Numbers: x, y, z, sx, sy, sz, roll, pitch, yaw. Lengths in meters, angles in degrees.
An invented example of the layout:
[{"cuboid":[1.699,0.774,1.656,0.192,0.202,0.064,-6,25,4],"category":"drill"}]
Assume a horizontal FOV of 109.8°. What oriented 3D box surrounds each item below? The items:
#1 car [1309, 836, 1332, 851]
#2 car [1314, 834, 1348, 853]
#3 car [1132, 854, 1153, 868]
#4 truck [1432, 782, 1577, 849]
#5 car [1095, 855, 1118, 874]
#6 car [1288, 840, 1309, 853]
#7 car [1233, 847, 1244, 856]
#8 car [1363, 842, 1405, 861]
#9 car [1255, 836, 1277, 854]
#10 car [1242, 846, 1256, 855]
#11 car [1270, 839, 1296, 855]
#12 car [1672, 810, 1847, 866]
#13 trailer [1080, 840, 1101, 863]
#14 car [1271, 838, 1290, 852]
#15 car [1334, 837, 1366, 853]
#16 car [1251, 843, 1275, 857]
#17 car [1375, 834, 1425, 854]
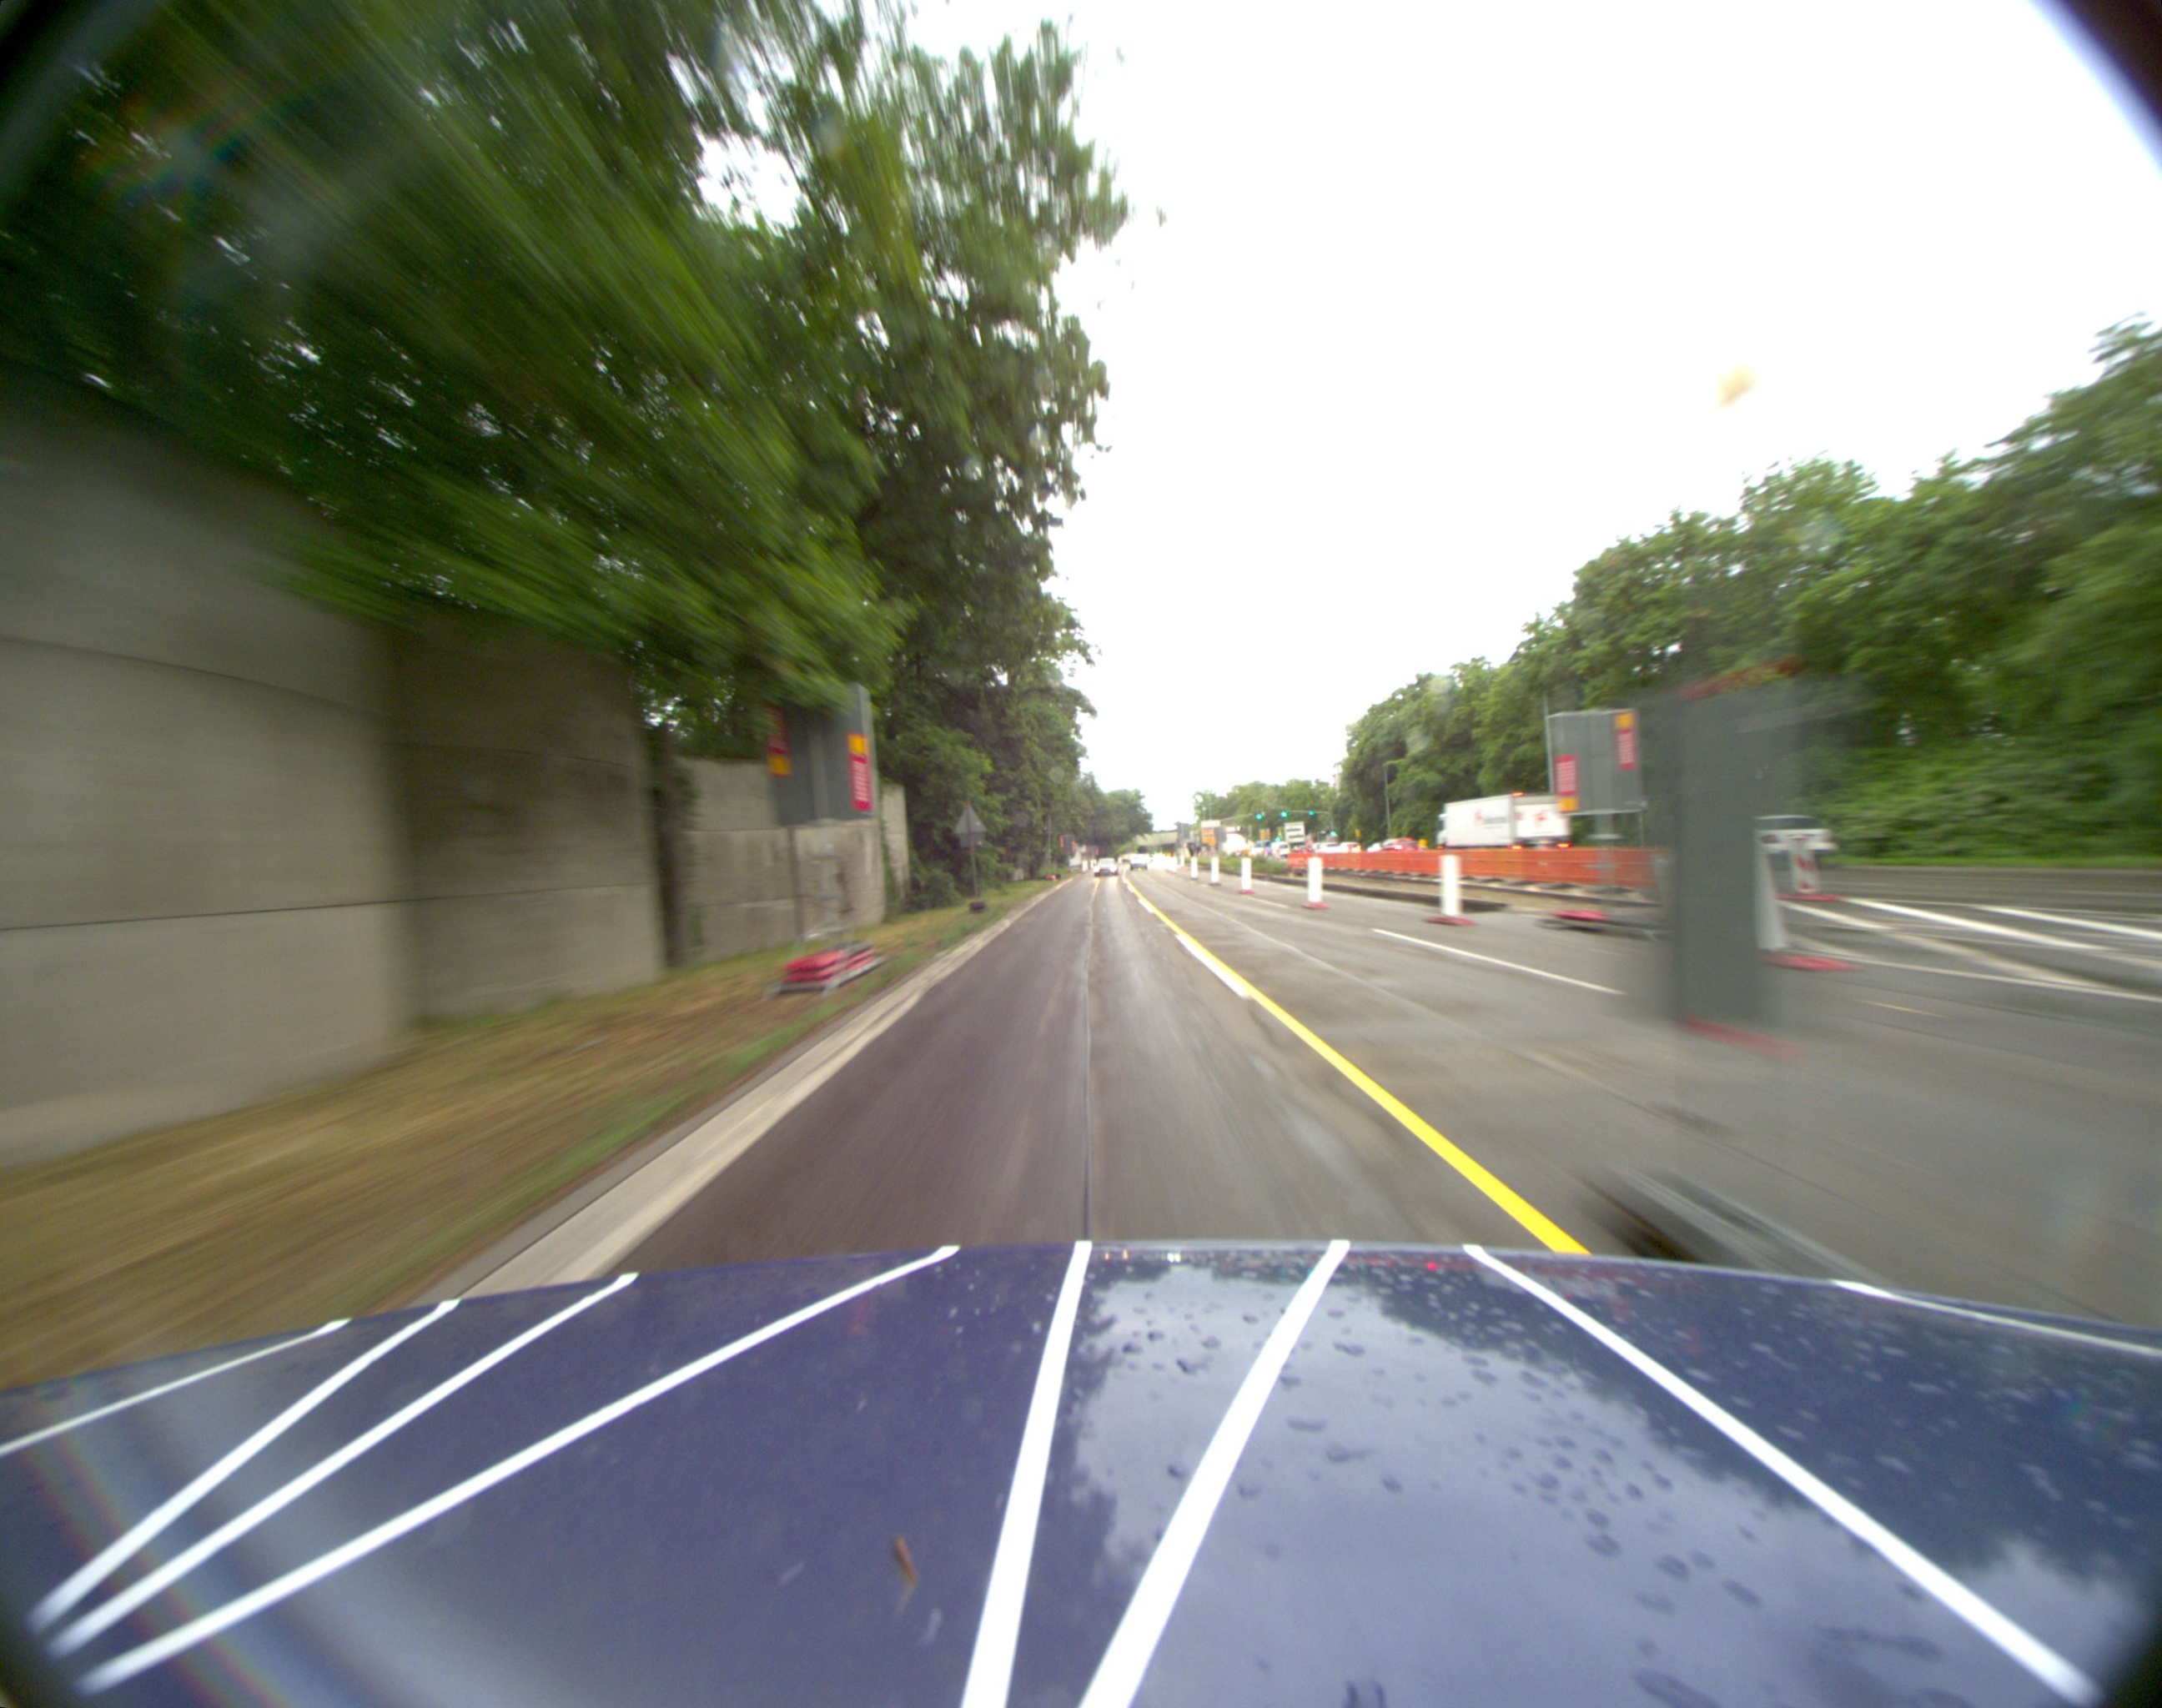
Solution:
[{"cuboid":[26.818,-1.158,85.176,1.675,1.514,3.791,-4,0,7],"category":"car"},{"cuboid":[22.273,-0.951,67.825,1.839,1.541,4.040,-3,0,3],"category":"car"},{"cuboid":[6.450,0.747,79.155,1.696,1.300,3.828,-3,0,11],"category":"car"},{"cuboid":[23.239,-1.946,42.608,2.802,3.130,10.149,-3,0,3],"category":"truck"},{"cuboid":[2.040,0.814,61.705,1.698,1.393,3.825,-3,0,0],"category":"car"},{"cuboid":[27.829,-0.946,97.169,1.797,1.514,4.636,-4,0,7],"category":"car"},{"cuboid":[24.927,-0.382,120.346,1.551,1.193,4.649,-4,0,11],"category":"car"},{"cuboid":[24.576,-0.237,61.728,1.814,1.371,4.369,-3,0,3],"category":"car"},{"cuboid":[27.174,-1.294,111.705,2.200,2.376,6.247,-4,-1,6],"category":"car"},{"cuboid":[22.610,-0.482,102.295,1.432,1.193,3.301,-4,0,7],"category":"car"},{"cuboid":[24.658,-0.850,93.006,1.918,1.771,4.834,-4,0,2],"category":"car"},{"cuboid":[22.644,-0.497,25.666,1.848,1.713,4.720,0,0,3],"category":"car"},{"cuboid":[1.538,-0.480,126.062,2.311,3.568,5.964,-2,1,11],"category":"trailer"},{"cuboid":[32.125,-1.451,122.471,2.039,1.962,4.993,-4,-1,6],"category":"car"},{"cuboid":[25.872,-0.867,73.219,1.795,1.417,3.897,-3,0,3],"category":"car"},{"cuboid":[21.049,-0.414,88.183,1.860,1.477,4.679,-3,0,3],"category":"car"},{"cuboid":[20.730,-0.633,49.553,1.609,1.145,4.283,-3,0,3],"category":"car"}]
